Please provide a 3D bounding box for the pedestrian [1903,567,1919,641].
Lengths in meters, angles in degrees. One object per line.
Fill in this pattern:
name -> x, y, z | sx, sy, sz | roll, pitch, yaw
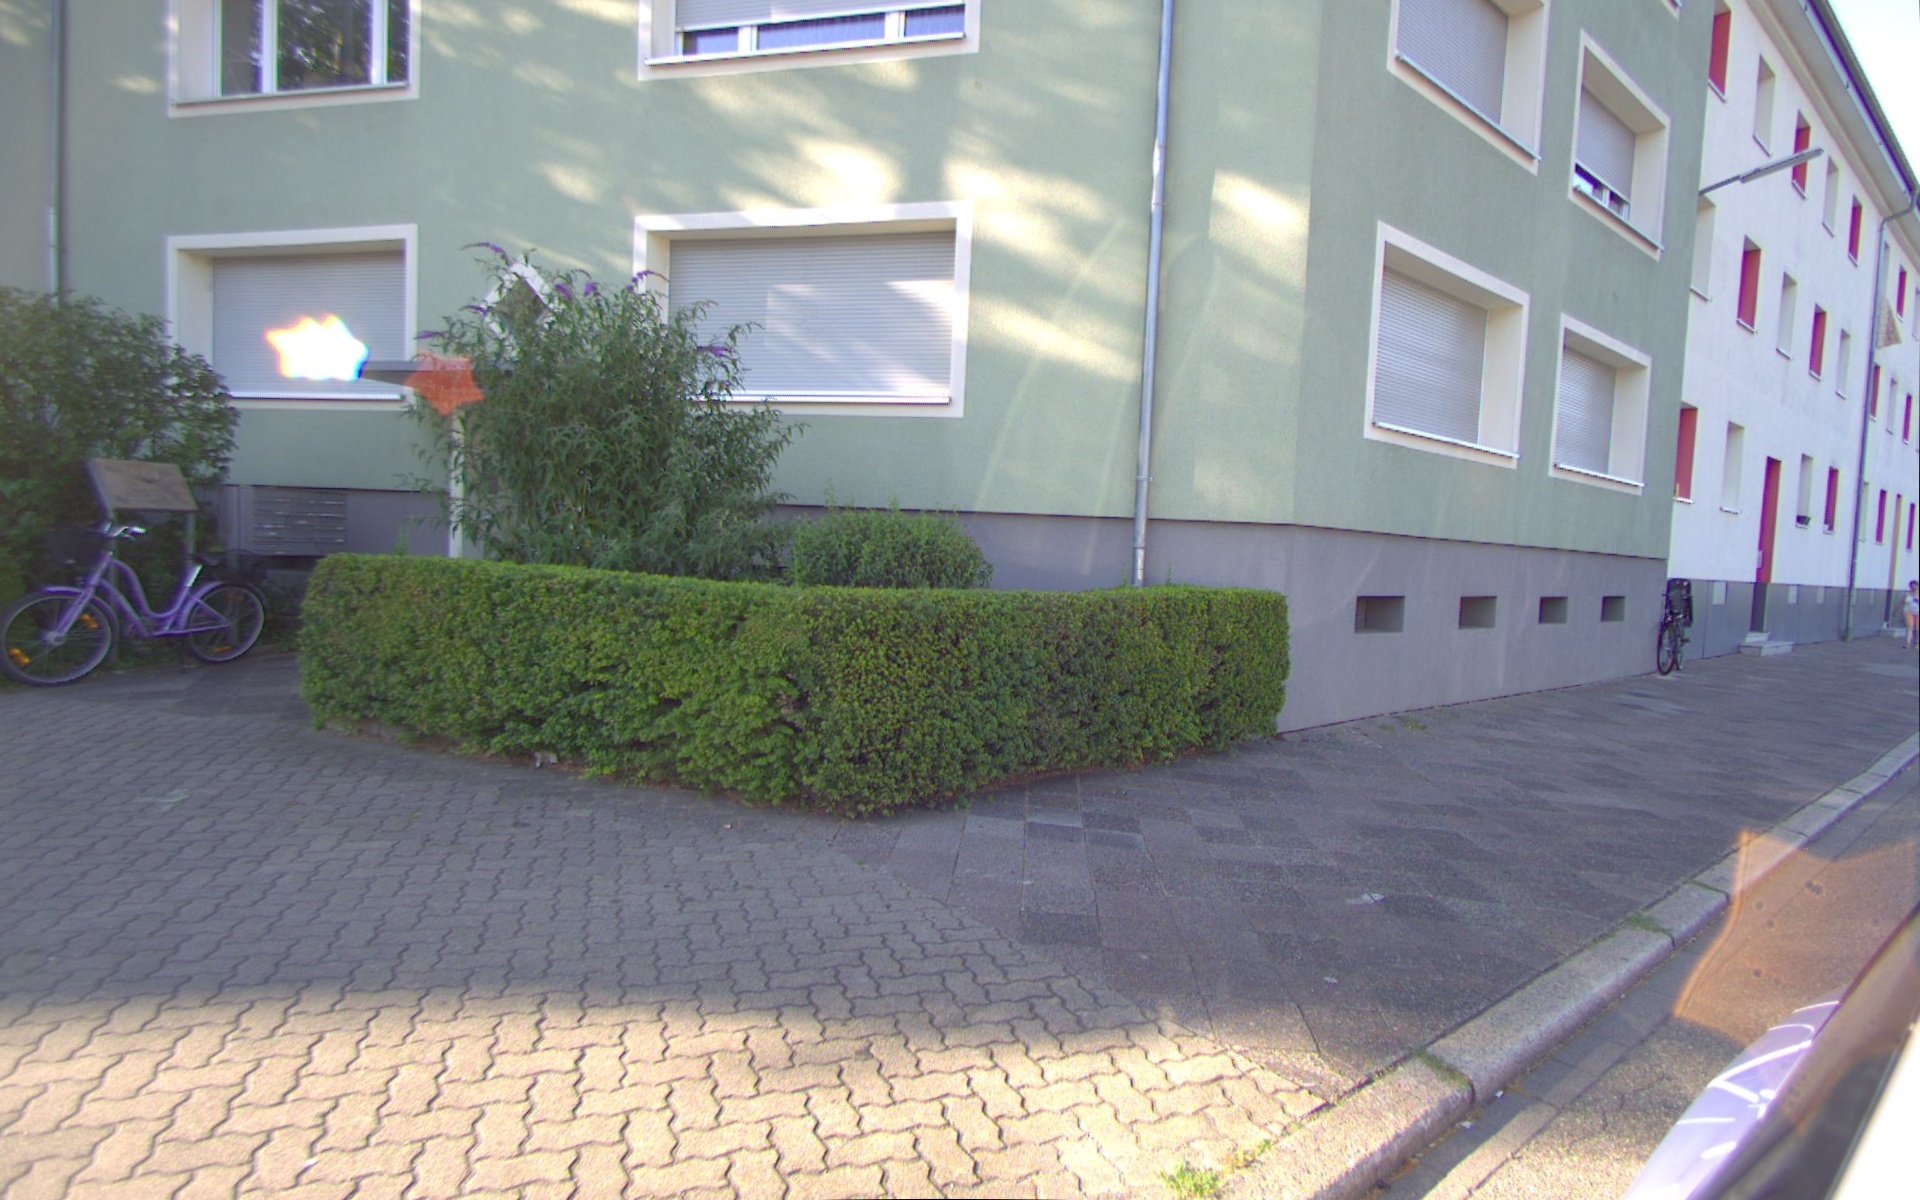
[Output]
pedestrian -> 22.825, 0.110, 23.757 | 0.933, 1.727, 0.787 | 0, 4, -41

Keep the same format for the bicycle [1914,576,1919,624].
bicycle -> 29.429, 0.017, 30.743 | 1.843, 1.429, 0.517 | -1, 4, -44

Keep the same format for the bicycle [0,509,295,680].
bicycle -> -5.911, -0.083, 7.292 | 0.515, 1.069, 1.920 | 3, 3, 22

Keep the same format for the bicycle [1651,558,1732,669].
bicycle -> 10.131, 0.164, 13.993 | 1.843, 1.429, 0.517 | -1, 4, -44
